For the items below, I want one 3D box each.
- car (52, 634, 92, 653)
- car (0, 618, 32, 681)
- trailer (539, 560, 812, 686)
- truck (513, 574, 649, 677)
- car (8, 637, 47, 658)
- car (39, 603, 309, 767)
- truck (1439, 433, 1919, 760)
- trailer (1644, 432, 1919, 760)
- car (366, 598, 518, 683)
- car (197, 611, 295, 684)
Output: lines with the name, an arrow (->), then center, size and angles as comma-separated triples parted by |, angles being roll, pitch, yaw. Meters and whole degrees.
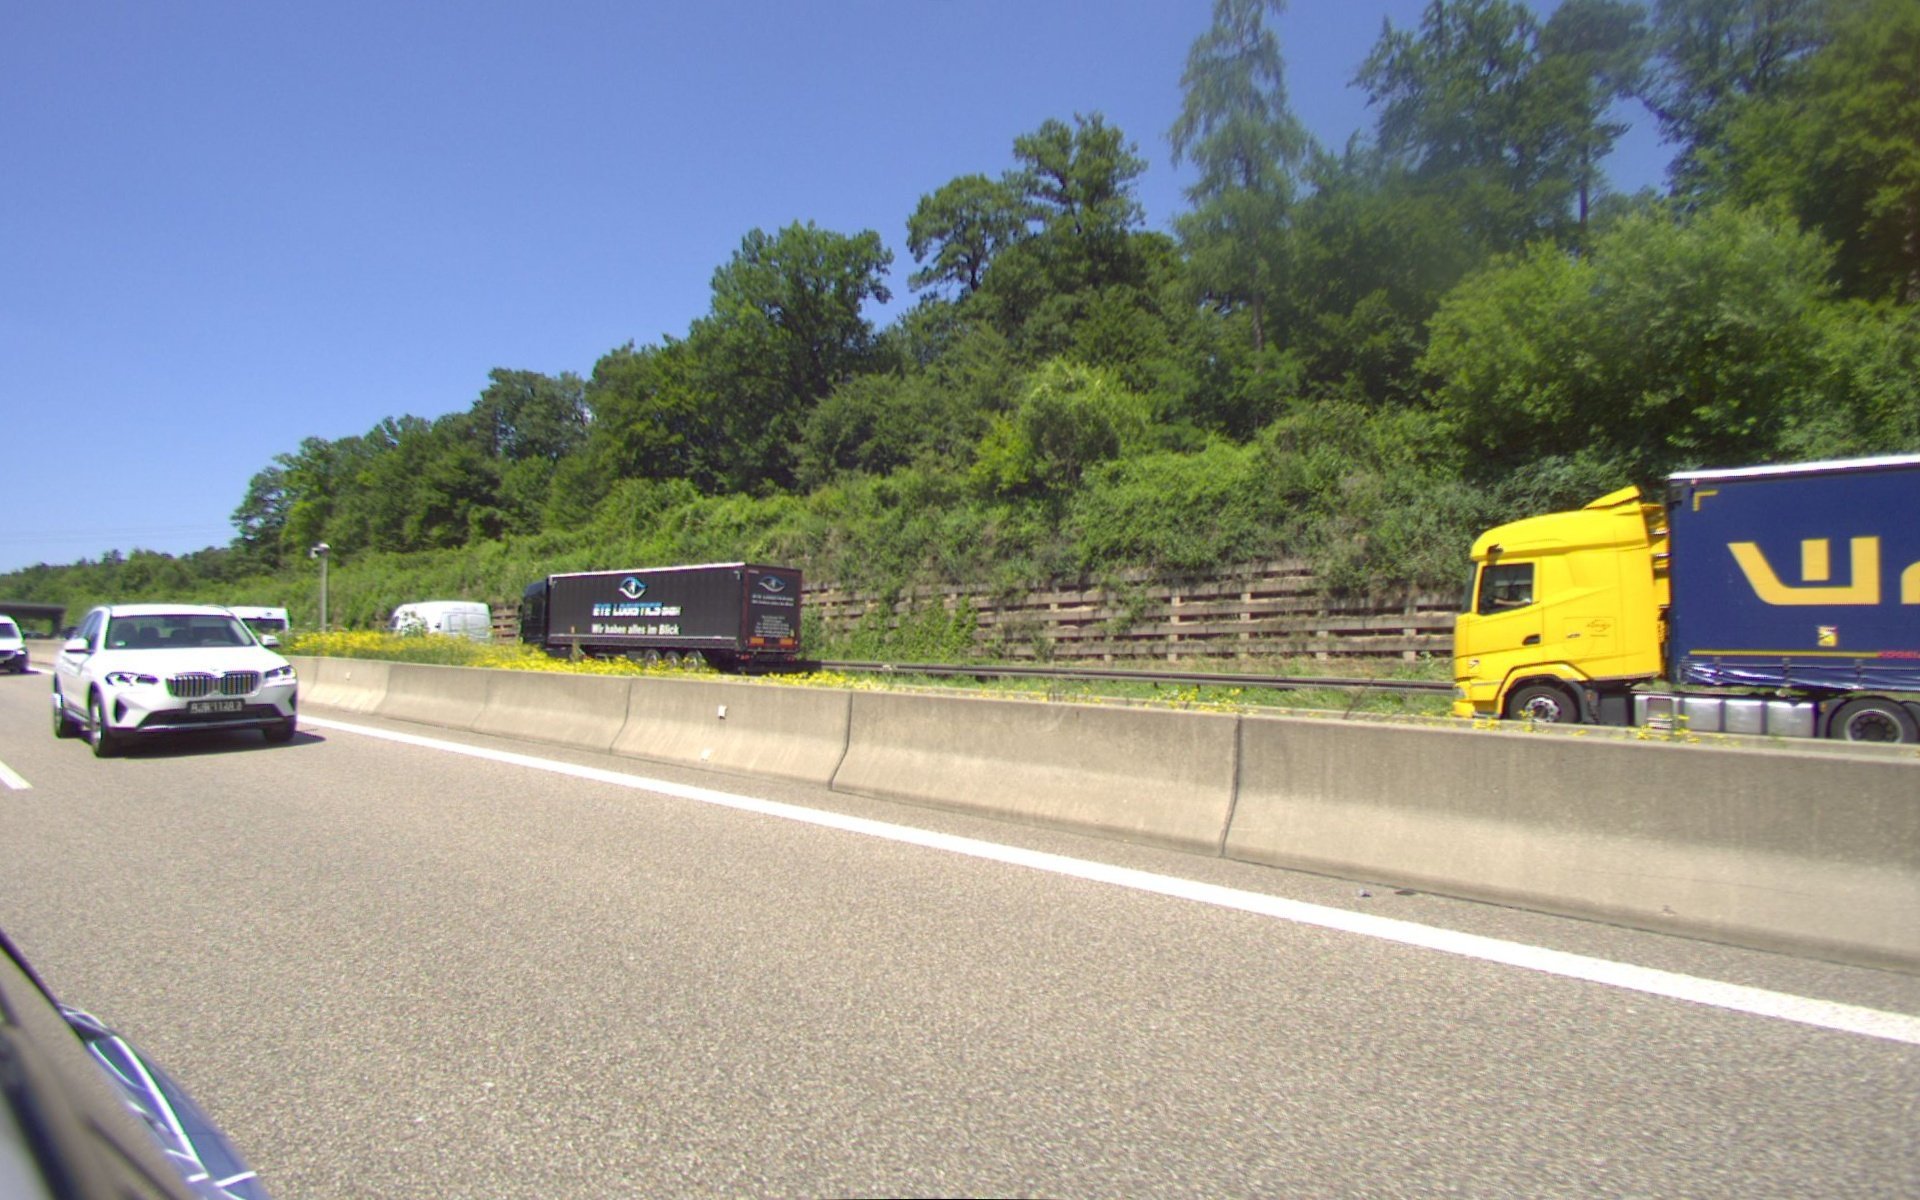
car -> -75.155, 3.687, 85.619 | 4.654, 1.617, 1.919 | -2, -4, 41
car -> -29.701, 1.493, 30.638 | 4.501, 1.788, 1.972 | -2, 0, 43
trailer -> -11.447, 0.972, 39.057 | 13.988, 4.132, 2.946 | -2, -4, 42
truck -> -16.246, 1.142, 43.277 | 5.865, 4.090, 2.903 | -2, -4, 41
car -> -72.307, 3.677, 78.420 | 4.079, 1.617, 1.743 | -2, -4, 41
car -> -9.764, 0.928, 12.448 | 4.366, 1.656, 1.826 | -2, -1, 41
truck -> 11.437, 0.079, 15.950 | 6.457, 4.234, 2.918 | -2, -4, 43
trailer -> 16.497, -0.080, 11.216 | 14.464, 4.239, 2.945 | -2, -4, 43
car -> -18.007, 1.425, 35.086 | 5.681, 2.694, 2.725 | -2, -4, 41
car -> -28.147, 1.872, 39.836 | 4.843, 2.694, 1.977 | -2, -4, 41
